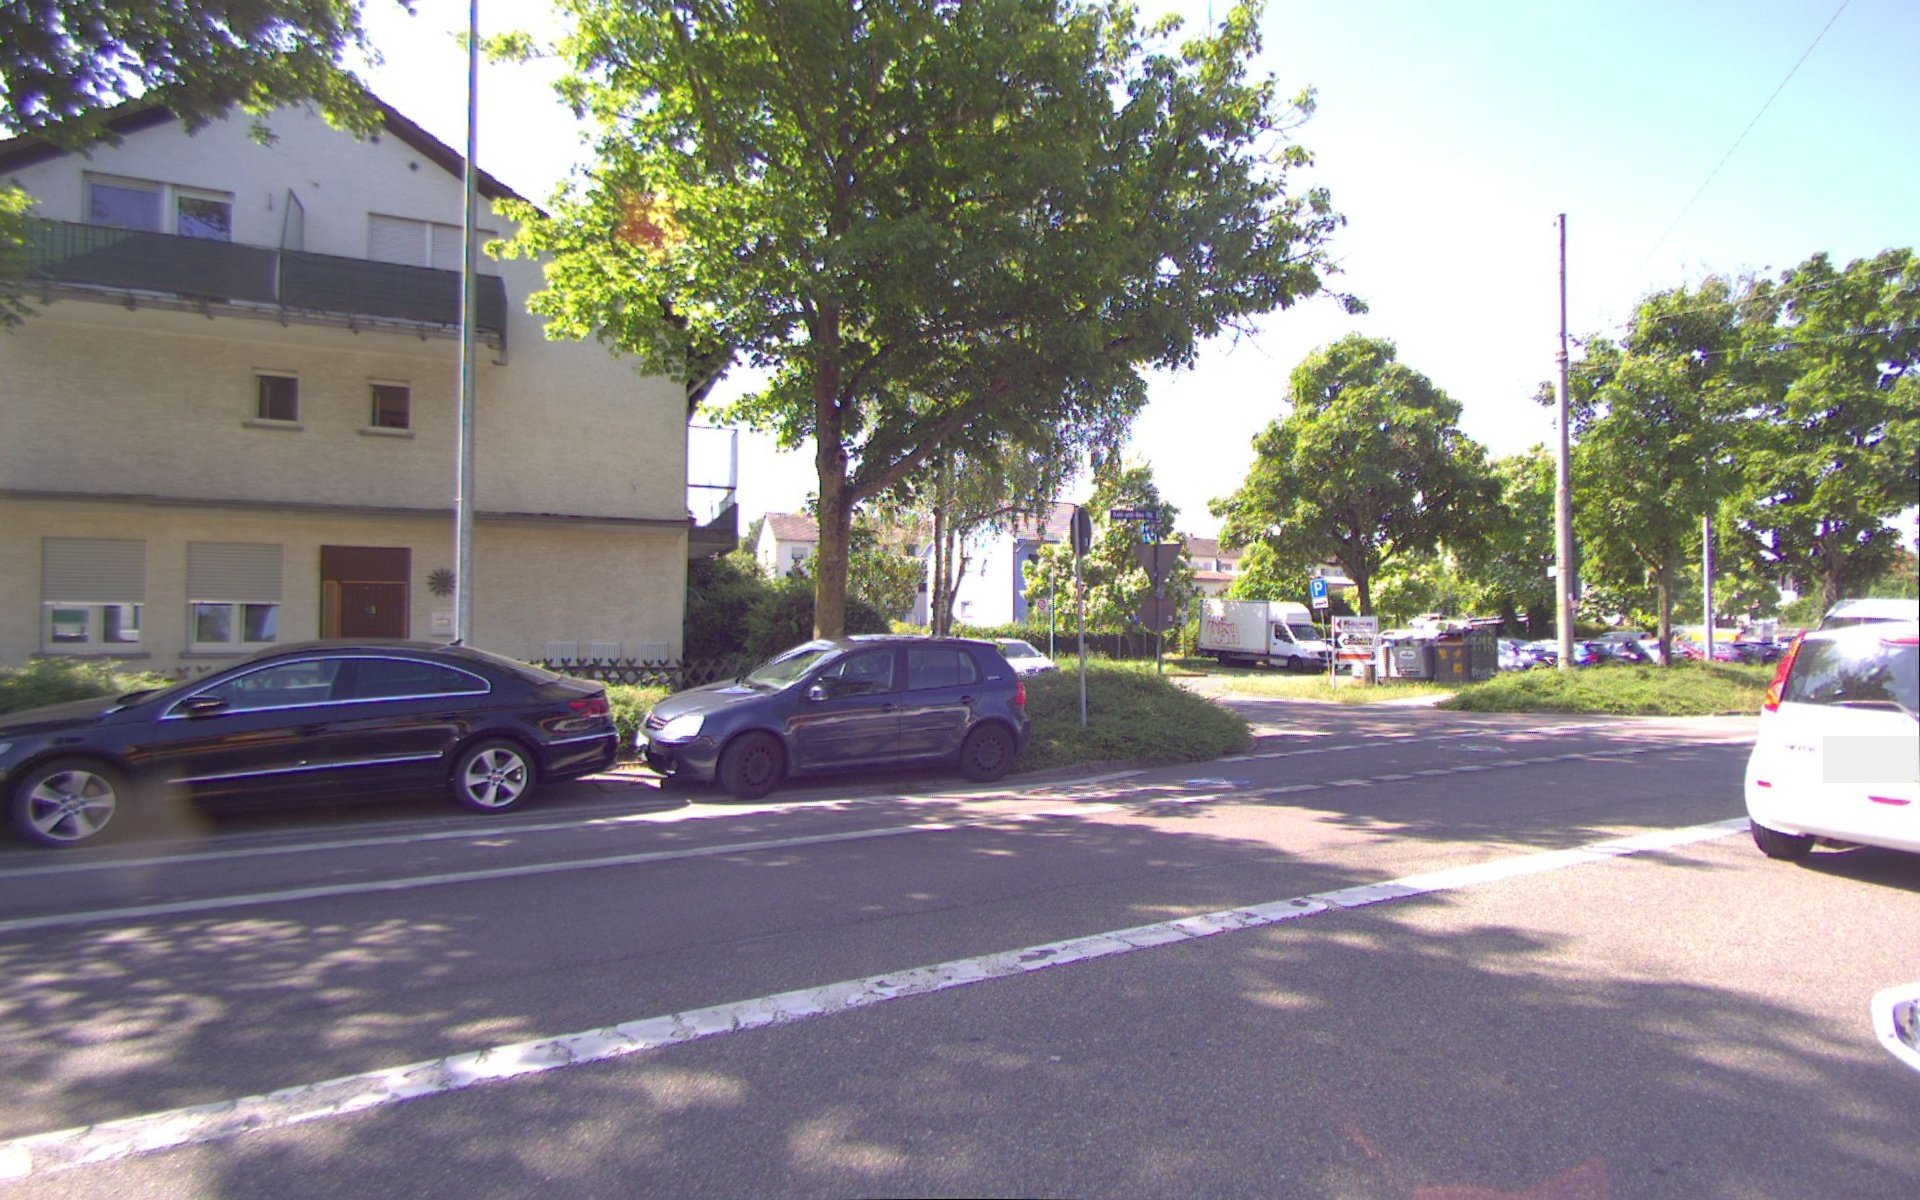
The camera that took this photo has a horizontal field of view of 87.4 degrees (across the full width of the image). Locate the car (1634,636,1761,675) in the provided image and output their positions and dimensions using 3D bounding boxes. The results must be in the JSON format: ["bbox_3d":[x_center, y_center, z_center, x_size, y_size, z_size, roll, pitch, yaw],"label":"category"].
[{"bbox_3d":[30.908,2.304,42.217,1.644,1.564,3.969,2,-3,-30],"label":"car"}]

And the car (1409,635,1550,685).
[{"bbox_3d":[17.452,1.982,33.936,1.645,1.564,3.967,2,-3,-31],"label":"car"}]

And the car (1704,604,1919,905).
[{"bbox_3d":[6.816,0.873,6.535,3.963,1.617,1.722,1,0,-30],"label":"car"}]

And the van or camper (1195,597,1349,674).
[{"bbox_3d":[14.398,1.578,46.860,2.553,3.287,6.913,1,-1,-31],"label":"van or camper"}]

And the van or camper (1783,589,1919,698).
[{"bbox_3d":[23.995,1.107,25.854,6.071,2.547,2.248,1,-2,-29],"label":"van or camper"}]

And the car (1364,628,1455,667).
[{"bbox_3d":[22.981,2.403,51.435,1.766,1.916,3.964,1,-2,-33],"label":"car"}]

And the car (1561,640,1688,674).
[{"bbox_3d":[26.272,2.220,39.853,1.644,1.287,3.898,2,-3,-30],"label":"car"}]

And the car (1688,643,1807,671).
[{"bbox_3d":[35.115,2.516,44.907,1.644,1.169,3.871,2,-3,-30],"label":"car"}]

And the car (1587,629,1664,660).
[{"bbox_3d":[45.165,2.996,68.243,1.890,2.029,3.964,1,-2,-33],"label":"car"}]

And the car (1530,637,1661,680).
[{"bbox_3d":[24.328,2.214,38.603,1.644,1.564,3.969,2,-3,-30],"label":"car"}]

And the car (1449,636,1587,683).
[{"bbox_3d":[19.527,2.047,35.324,1.645,1.564,3.967,2,-3,-31],"label":"car"}]

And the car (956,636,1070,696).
[{"bbox_3d":[1.422,1.822,28.543,1.781,1.545,3.981,0,-2,-21],"label":"car"}]

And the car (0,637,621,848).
[{"bbox_3d":[-5.321,1.018,8.357,4.525,1.413,1.690,1,-2,-29],"label":"car"}]

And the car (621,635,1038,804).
[{"bbox_3d":[-1.306,1.107,10.493,4.033,1.470,1.609,1,-2,-29],"label":"car"}]

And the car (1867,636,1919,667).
[{"bbox_3d":[53.737,2.864,56.342,1.645,1.716,3.967,2,-3,-31],"label":"car"}]

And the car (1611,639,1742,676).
[{"bbox_3d":[28.939,2.286,40.699,1.712,1.428,3.969,1,-2,-30],"label":"car"}]

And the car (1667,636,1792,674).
[{"bbox_3d":[33.295,2.353,43.558,1.644,1.564,3.969,2,-3,-30],"label":"car"}]

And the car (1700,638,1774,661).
[{"bbox_3d":[54.707,3.464,70.789,1.515,1.443,3.826,1,-1,-31],"label":"car"}]

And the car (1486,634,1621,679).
[{"bbox_3d":[21.595,2.024,36.679,1.645,1.564,3.967,2,-3,-31],"label":"car"}]

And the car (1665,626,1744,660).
[{"bbox_3d":[50.653,2.910,68.407,1.890,2.229,3.964,1,-1,-33],"label":"car"}]

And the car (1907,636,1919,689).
[{"bbox_3d":[29.272,1.782,28.704,4.828,1.474,1.923,1,-2,-30],"label":"car"}]
